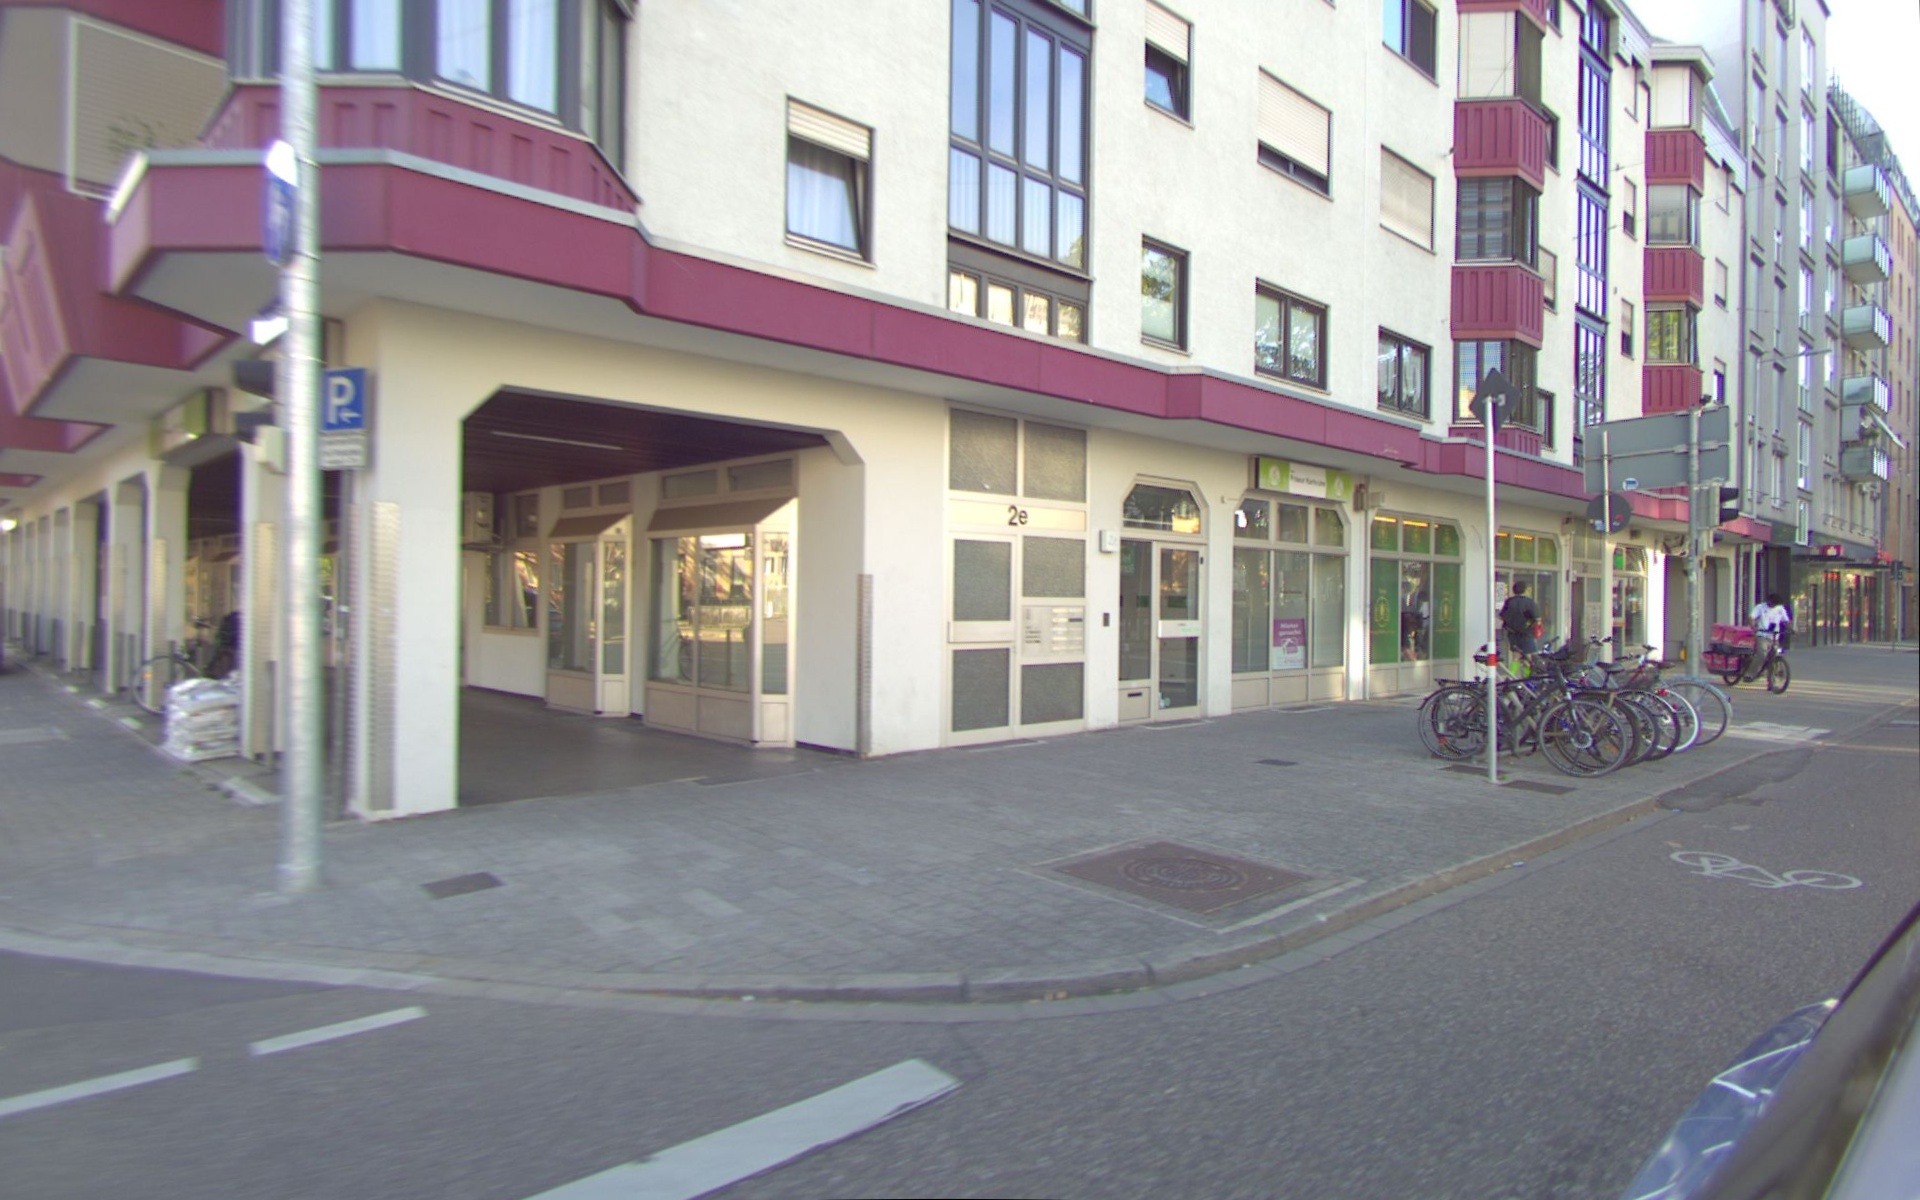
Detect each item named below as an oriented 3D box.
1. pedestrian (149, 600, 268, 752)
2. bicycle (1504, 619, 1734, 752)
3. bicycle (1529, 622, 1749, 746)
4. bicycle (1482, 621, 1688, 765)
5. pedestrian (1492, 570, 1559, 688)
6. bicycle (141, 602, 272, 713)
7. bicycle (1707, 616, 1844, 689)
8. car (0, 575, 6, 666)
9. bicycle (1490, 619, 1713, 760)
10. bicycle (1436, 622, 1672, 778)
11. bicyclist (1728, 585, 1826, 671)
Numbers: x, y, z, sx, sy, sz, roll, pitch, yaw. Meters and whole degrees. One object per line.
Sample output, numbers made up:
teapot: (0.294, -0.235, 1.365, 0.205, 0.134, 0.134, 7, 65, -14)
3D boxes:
pedestrian: (-7.141, 0.687, 9.630, 0.656, 1.367, 0.652, 1, 0, 23)
bicycle: (6.989, 0.855, 10.826, 0.581, 1.214, 1.978, 1, 1, -44)
bicycle: (7.464, 0.874, 11.210, 0.562, 1.185, 1.942, 1, 1, -42)
bicycle: (5.990, 0.843, 9.789, 0.486, 1.214, 1.628, 1, 1, -35)
pedestrian: (9.325, 0.457, 16.685, 0.787, 1.881, 0.724, 1, 0, -40)
bicycle: (-9.201, 0.661, 12.434, 0.603, 1.214, 1.801, 1, 1, -13)
bicycle: (15.414, 0.954, 19.244, 0.949, 1.198, 2.588, 1, 1, 13)
car: (-18.974, 0.381, 18.792, 1.708, 1.705, 3.900, 0, 0, -42)
bicycle: (6.388, 0.837, 10.188, 0.487, 1.236, 1.837, 1, 0, -36)
bicycle: (5.412, 0.855, 9.340, 0.535, 1.214, 1.808, 0, 1, -35)
bicyclist: (15.384, 0.503, 19.093, 1.044, 1.559, 1.075, 1, 0, 13)
